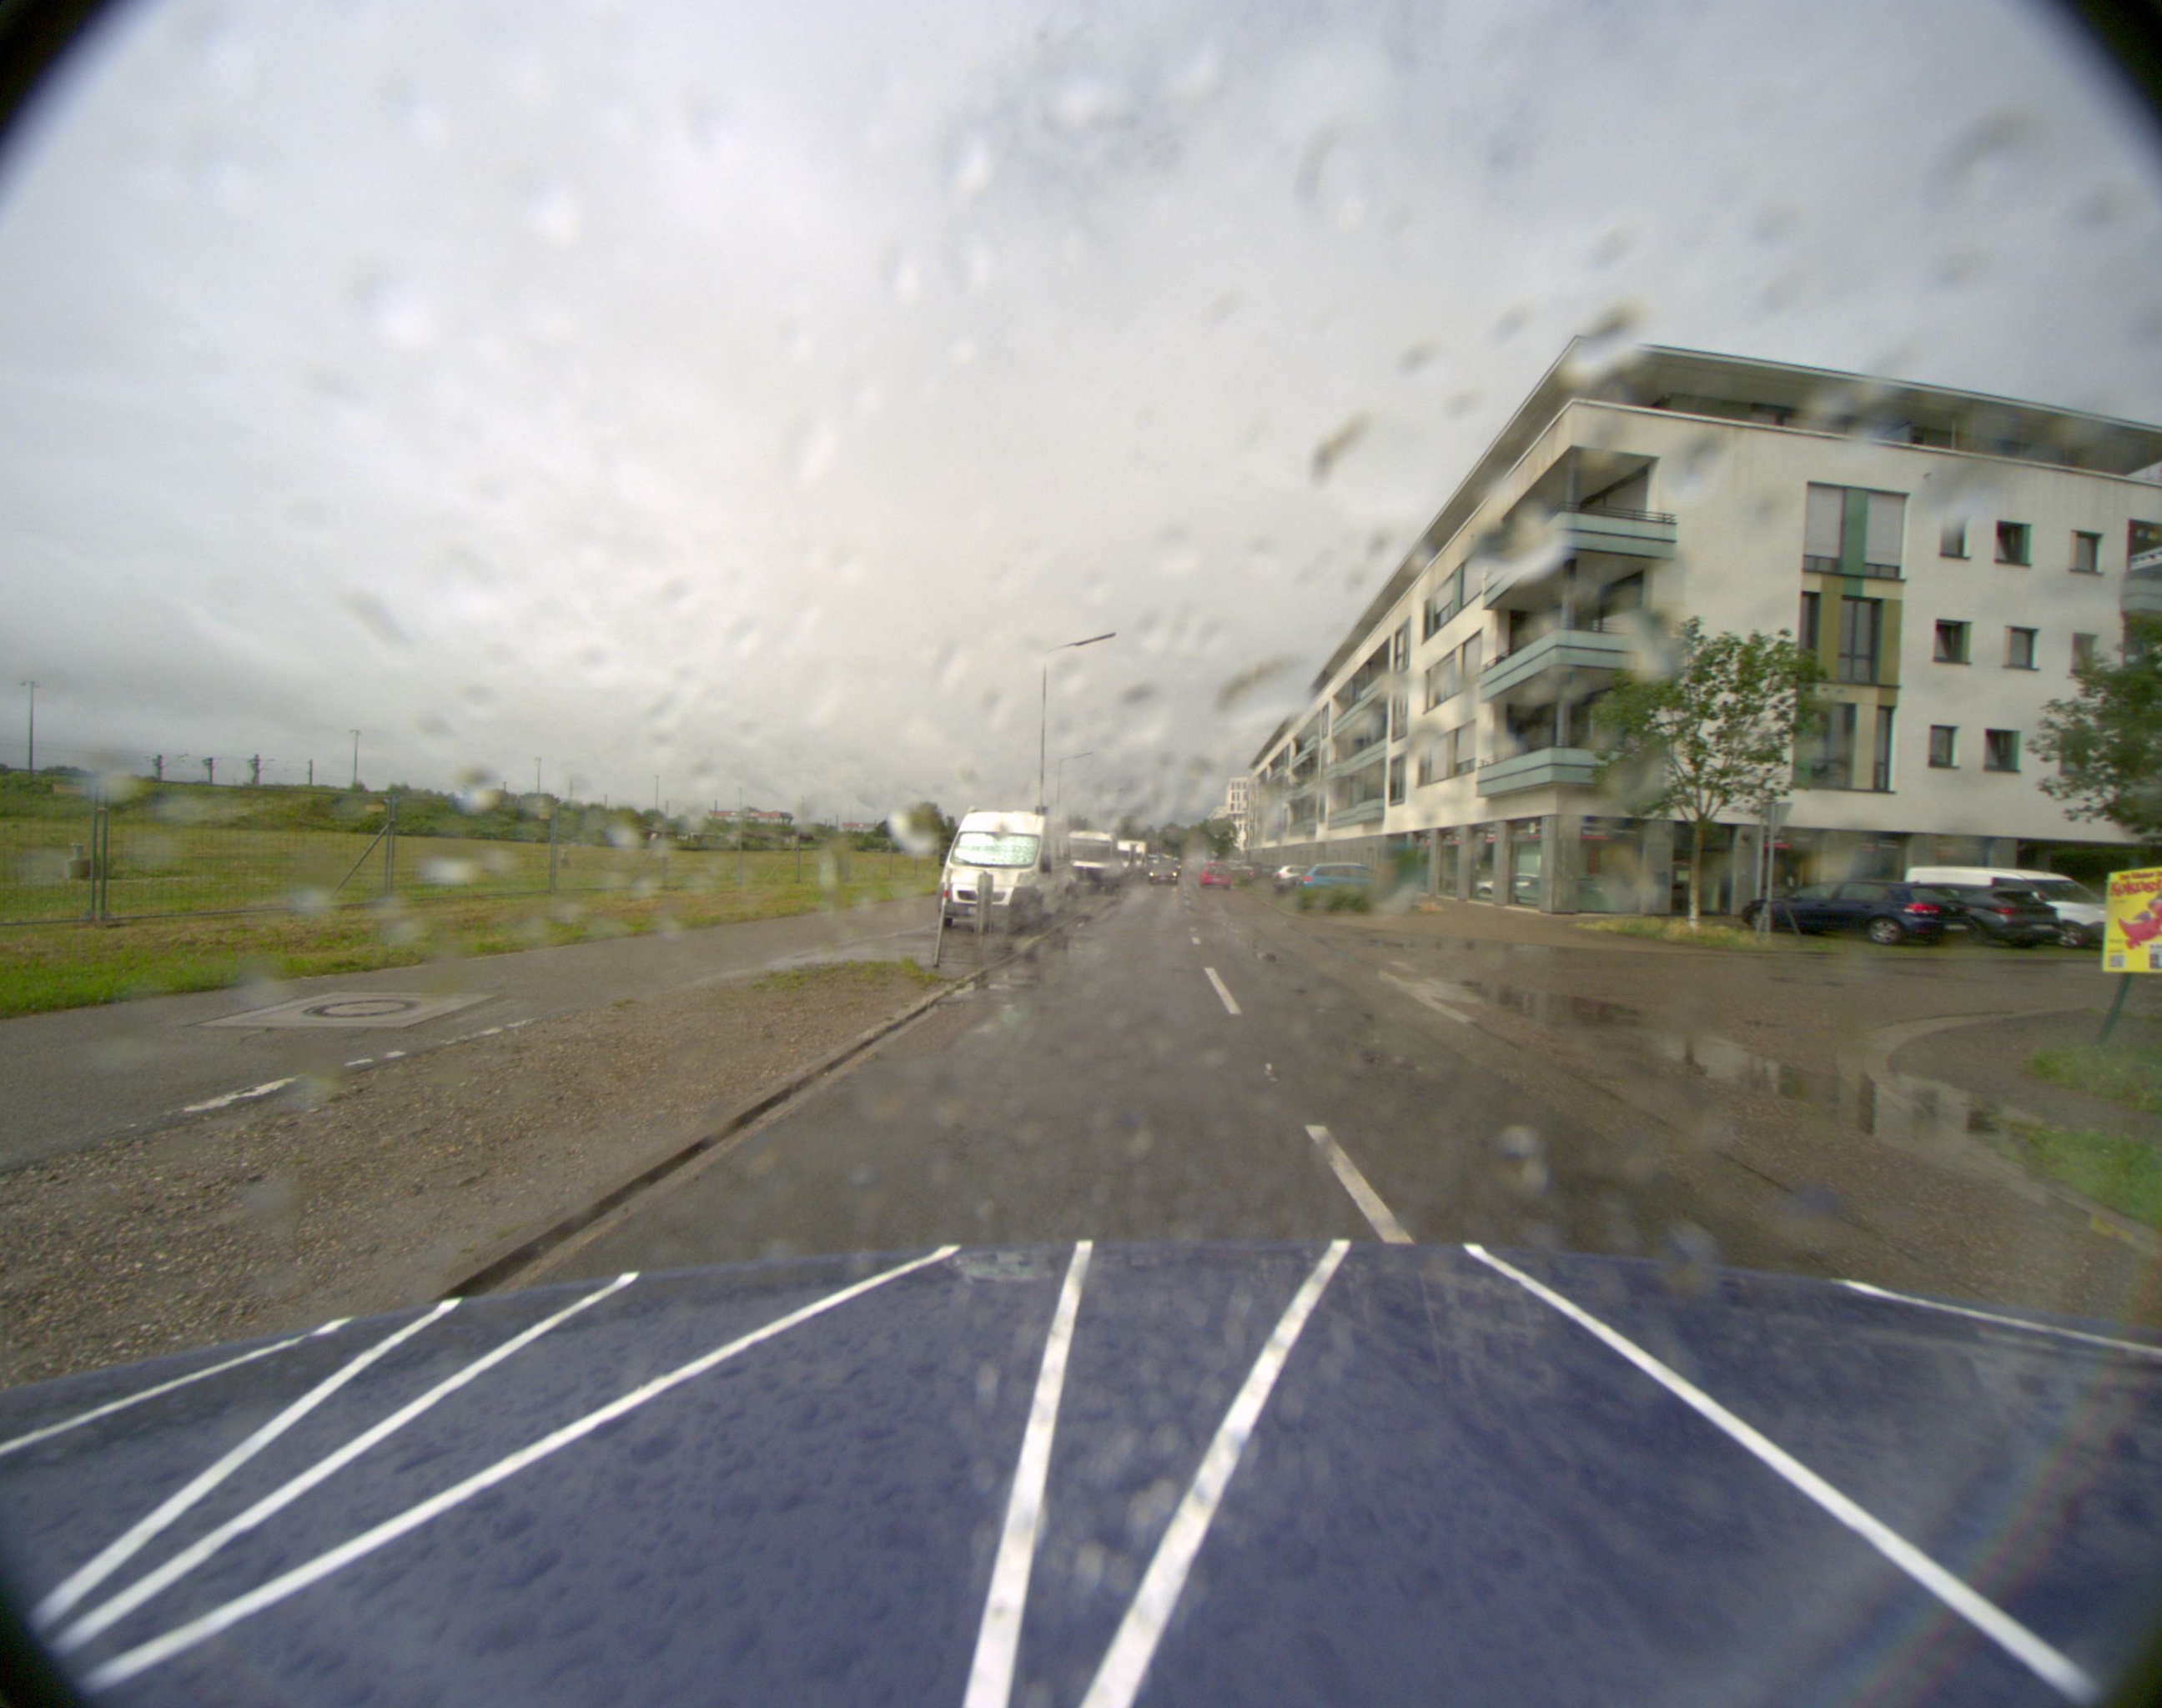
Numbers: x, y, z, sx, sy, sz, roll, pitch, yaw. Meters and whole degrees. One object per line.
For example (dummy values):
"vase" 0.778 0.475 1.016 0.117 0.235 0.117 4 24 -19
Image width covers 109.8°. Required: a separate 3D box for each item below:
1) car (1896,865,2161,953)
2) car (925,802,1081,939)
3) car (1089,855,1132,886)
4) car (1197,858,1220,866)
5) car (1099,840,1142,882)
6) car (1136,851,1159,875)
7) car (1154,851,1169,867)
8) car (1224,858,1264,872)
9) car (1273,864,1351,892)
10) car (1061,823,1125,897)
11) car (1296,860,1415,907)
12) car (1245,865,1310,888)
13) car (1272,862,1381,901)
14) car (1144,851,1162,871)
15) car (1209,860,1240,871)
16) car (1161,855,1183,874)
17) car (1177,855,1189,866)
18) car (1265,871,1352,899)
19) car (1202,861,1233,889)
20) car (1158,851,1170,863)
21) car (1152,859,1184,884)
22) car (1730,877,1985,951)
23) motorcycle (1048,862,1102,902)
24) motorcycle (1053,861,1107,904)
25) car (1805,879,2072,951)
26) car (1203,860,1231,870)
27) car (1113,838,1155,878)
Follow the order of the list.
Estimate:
"car" 23.900 1.254 19.155 1.644 1.825 4.345 0 1 -10
"car" -1.479 0.296 17.262 2.096 2.458 5.950 3 1 7
"car" 1.673 0.880 41.467 1.733 1.485 4.444 4 0 9
"car" 22.344 1.349 133.329 3.796 1.362 1.745 -1 0 6
"car" 2.734 0.458 50.514 2.072 2.514 6.662 4 0 9
"car" 6.651 0.854 75.728 1.997 2.228 4.566 2 0 7
"car" 11.568 0.707 109.379 1.997 2.228 4.566 2 0 7
"car" 16.501 1.085 77.082 3.796 1.362 1.745 -1 0 6
"car" 12.191 1.256 40.209 3.665 1.369 1.687 -1 -1 4
"car" 0.641 0.218 33.805 2.148 2.867 5.278 5 1 6
"car" 9.913 1.051 27.657 3.817 1.624 1.756 -1 0 9
"car" 12.139 1.376 47.124 3.738 1.365 1.645 0 0 7
"car" 10.500 1.166 32.738 4.180 1.540 1.861 -1 0 6
"car" 8.572 0.791 90.180 1.997 2.228 4.566 2 0 7
"car" 18.789 1.558 99.591 3.796 1.362 1.745 -1 0 6
"car" 9.055 1.008 75.382 2.009 1.695 4.332 2 0 8
"car" 17.966 1.137 134.003 1.997 2.002 4.002 -1 0 6
"car" 10.424 1.423 34.983 3.612 1.176 1.540 -1 0 6
"car" 7.797 1.188 43.433 1.659 1.459 3.392 2 0 10
"car" 15.622 0.576 142.673 1.997 2.228 4.566 2 0 7
"car" 5.645 1.143 48.935 1.872 1.510 4.361 -1 -1 9
"car" 18.865 1.376 18.773 1.644 1.388 4.183 0 1 -10
"motorcycle" -0.208 0.960 26.197 1.677 1.188 0.648 5 1 -15
"motorcycle" -0.043 0.940 25.073 1.648 1.367 0.721 1 1 -11
"car" 21.163 1.425 19.049 1.689 1.388 4.124 0 1 -10
"car" 19.618 1.621 109.585 3.796 1.362 1.745 -1 0 6
"car" 4.314 0.317 60.779 2.475 2.938 6.892 3 0 10
